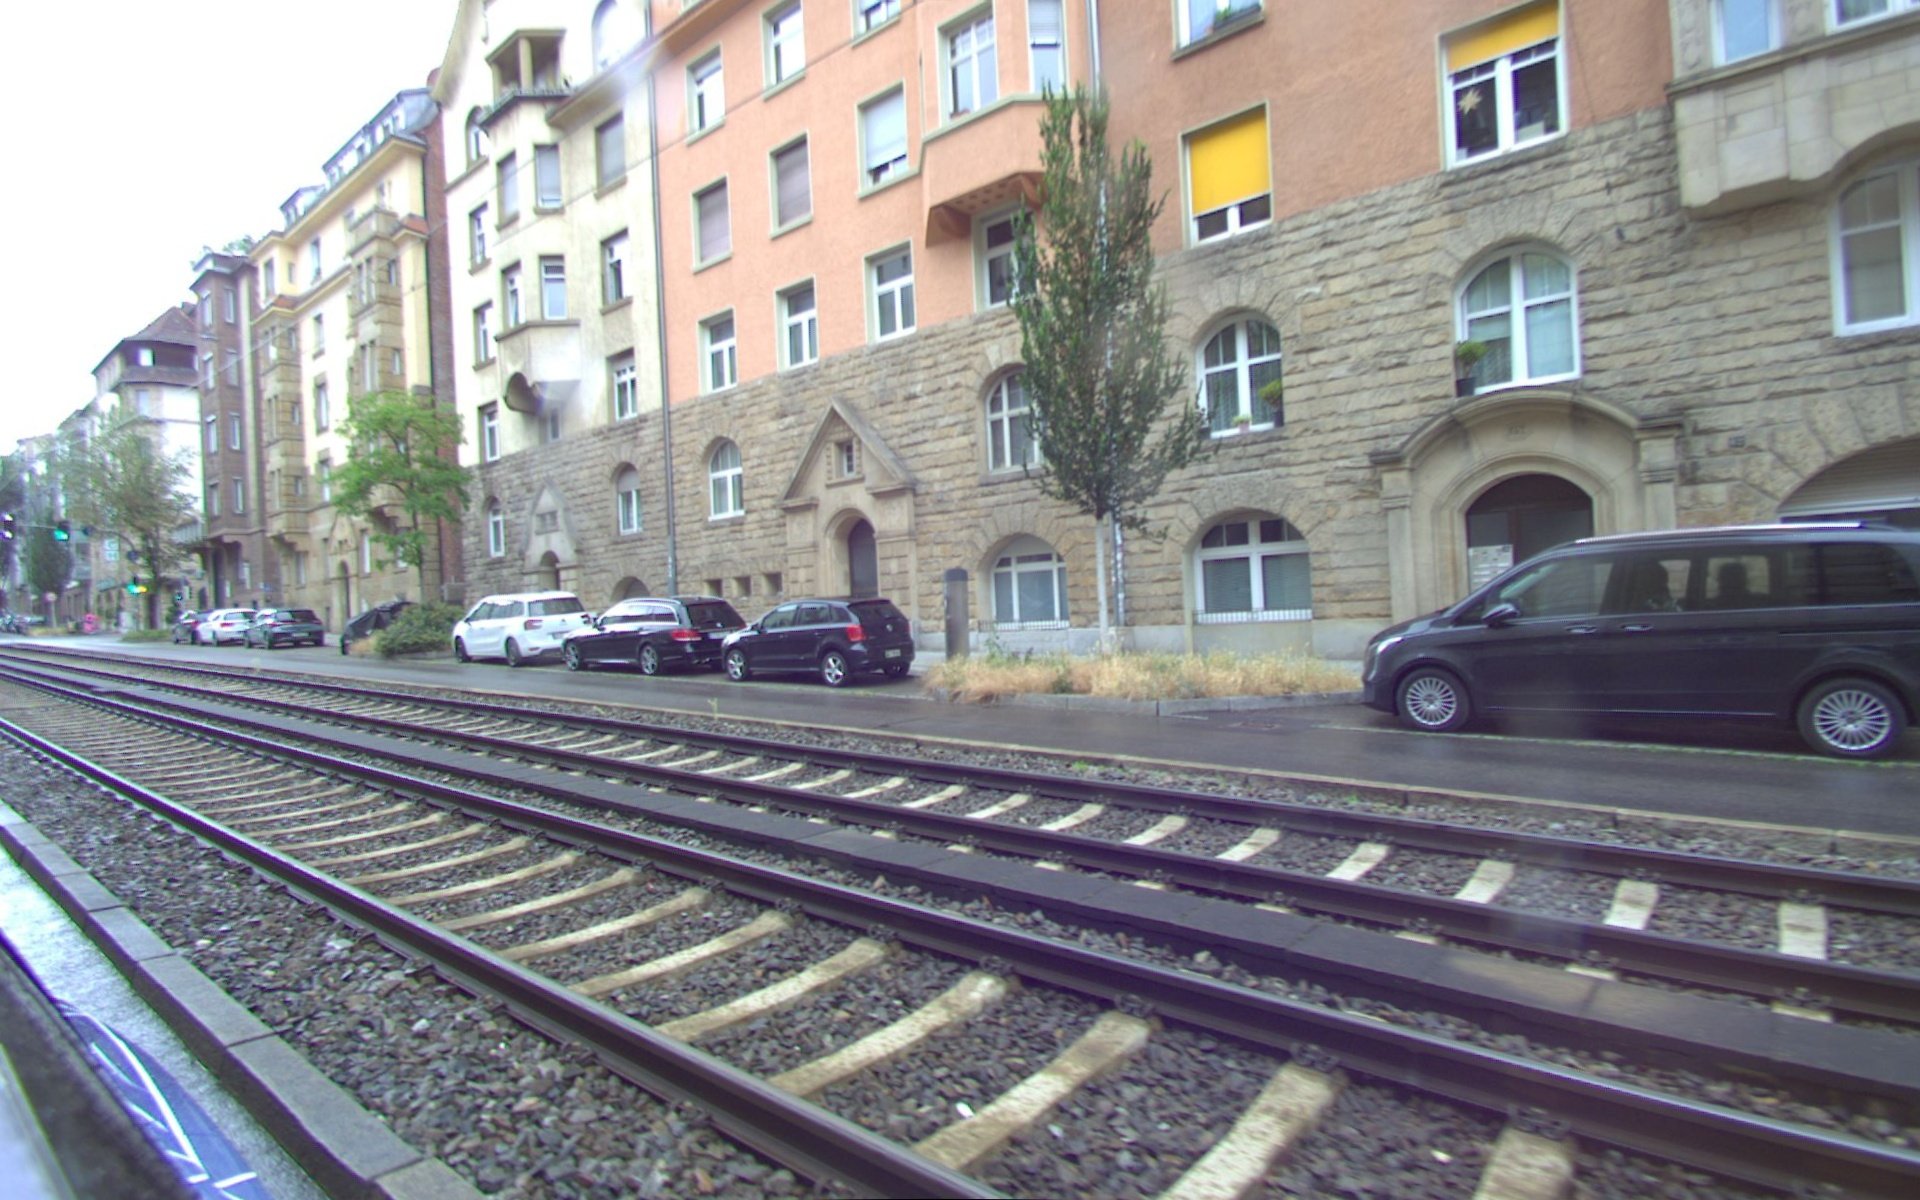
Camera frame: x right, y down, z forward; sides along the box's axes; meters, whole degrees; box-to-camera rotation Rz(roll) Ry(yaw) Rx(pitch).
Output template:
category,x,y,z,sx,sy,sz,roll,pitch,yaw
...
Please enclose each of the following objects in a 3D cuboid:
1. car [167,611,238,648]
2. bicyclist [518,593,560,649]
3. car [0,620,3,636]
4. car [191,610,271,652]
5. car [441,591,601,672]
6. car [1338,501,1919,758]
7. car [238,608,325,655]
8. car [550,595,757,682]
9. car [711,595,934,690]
category,x,y,z,sx,sy,sz,roll,pitch,yaw
car,-32.731,1.242,43.696,3.712,1.438,1.737,-1,3,42
bicyclist,-12.280,0.602,29.518,0.774,1.613,0.883,-1,0,41
car,-82.561,2.399,85.706,4.255,1.356,1.771,-1,0,41
car,-29.224,1.204,40.524,4.043,1.462,1.737,-1,3,42
car,-10.597,0.704,24.298,4.257,1.684,1.738,-1,3,40
car,6.378,0.237,9.684,4.829,1.945,1.886,-1,0,40
car,-24.586,1.112,36.628,3.712,1.493,1.695,-1,3,42
car,-6.314,0.723,20.593,4.593,1.502,1.738,-1,2,39
car,-2.438,0.675,17.585,3.690,1.414,1.739,-1,2,38
